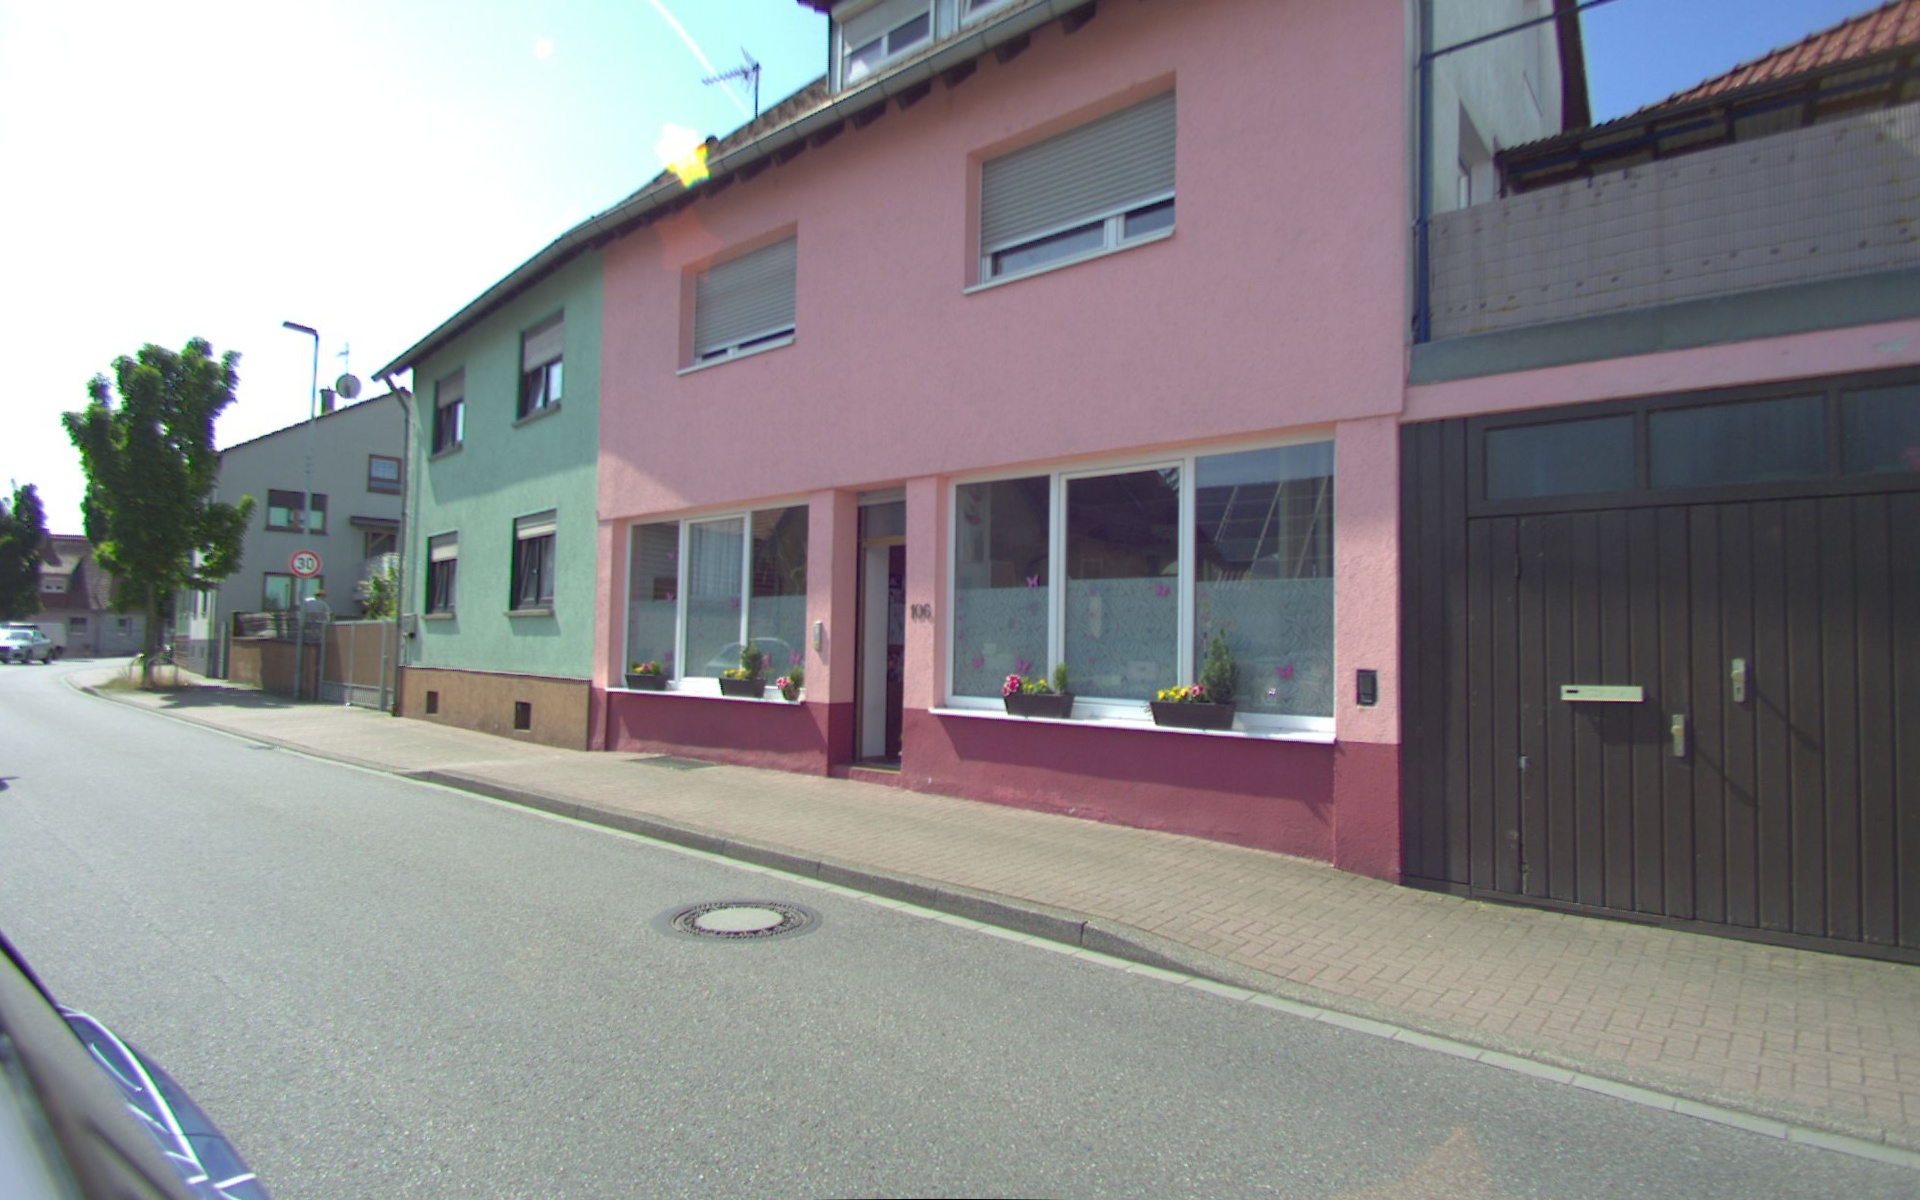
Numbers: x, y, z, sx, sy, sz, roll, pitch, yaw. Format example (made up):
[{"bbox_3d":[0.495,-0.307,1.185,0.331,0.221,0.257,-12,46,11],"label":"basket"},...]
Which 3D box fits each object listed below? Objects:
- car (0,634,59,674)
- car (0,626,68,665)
[{"bbox_3d":[-43.456,2.459,46.572,1.776,1.639,4.137,0,0,-24],"label":"car"},{"bbox_3d":[-49.645,2.379,53.713,1.916,1.866,4.524,0,0,-20],"label":"car"}]
